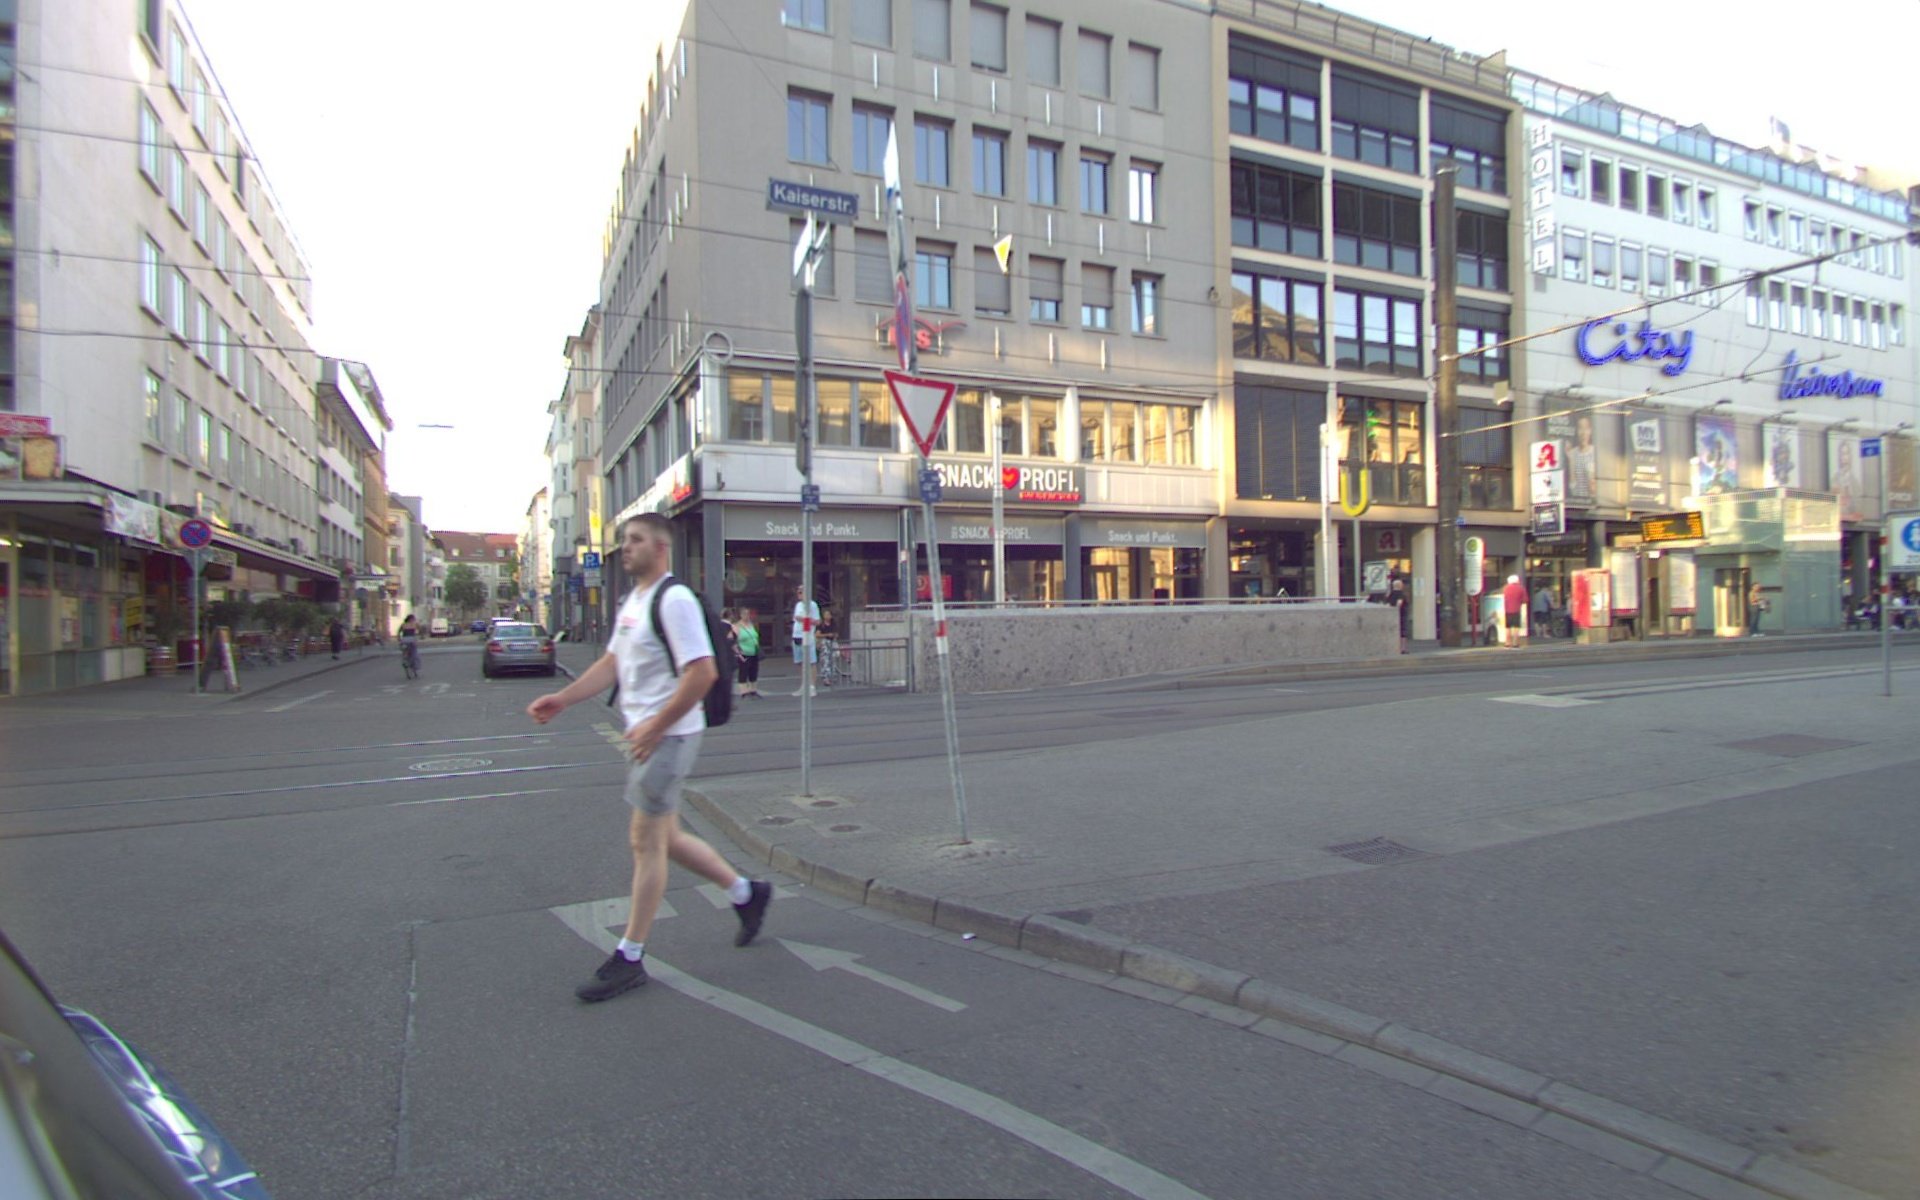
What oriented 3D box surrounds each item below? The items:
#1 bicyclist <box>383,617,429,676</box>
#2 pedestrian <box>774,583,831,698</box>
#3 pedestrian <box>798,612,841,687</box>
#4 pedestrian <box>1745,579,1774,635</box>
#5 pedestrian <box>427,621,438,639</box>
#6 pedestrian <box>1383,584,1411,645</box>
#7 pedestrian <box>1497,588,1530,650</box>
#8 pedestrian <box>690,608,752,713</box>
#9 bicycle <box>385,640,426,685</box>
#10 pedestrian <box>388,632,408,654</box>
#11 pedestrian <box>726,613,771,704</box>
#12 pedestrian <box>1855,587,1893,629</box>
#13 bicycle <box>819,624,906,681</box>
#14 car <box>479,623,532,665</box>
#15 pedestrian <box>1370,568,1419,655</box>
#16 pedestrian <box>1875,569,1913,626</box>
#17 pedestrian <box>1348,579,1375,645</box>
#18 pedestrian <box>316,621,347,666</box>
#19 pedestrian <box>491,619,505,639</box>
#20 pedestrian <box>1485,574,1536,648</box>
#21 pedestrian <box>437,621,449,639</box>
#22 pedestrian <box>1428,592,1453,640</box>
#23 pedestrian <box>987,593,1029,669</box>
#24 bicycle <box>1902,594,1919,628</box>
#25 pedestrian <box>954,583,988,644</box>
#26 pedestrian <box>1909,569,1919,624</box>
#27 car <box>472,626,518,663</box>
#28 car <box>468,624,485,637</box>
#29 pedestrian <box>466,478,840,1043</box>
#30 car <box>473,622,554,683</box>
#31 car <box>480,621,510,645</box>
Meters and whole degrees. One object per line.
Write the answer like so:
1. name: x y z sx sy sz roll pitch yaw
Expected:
1. bicyclist: -14.879 1.229 27.190 0.983 1.513 0.860 -2 0 -25
2. pedestrian: -2.744 0.695 17.601 0.697 1.941 0.777 0 -2 -33
3. pedestrian: -2.752 0.964 19.851 0.678 1.445 0.553 -1 -2 13
4. pedestrian: 23.346 0.212 29.551 0.497 1.630 0.514 0 -2 -34
5. pedestrian: -50.645 2.856 97.095 0.856 1.674 0.934 -2 -1 -25
6. pedestrian: 11.513 0.385 26.670 0.624 1.600 0.600 -1 -2 23
7. pedestrian: 14.407 0.499 26.357 0.605 1.600 0.619 -2 -2 41
8. pedestrian: -3.622 0.905 15.338 0.682 1.553 0.601 -1 -2 23
9. bicycle: -14.860 1.643 27.179 0.803 1.081 2.120 -2 0 -25
10. pedestrian: -45.782 3.503 82.481 1.277 1.674 1.017 -1 -1 -23
11. pedestrian: -3.584 0.983 17.145 0.546 1.505 0.607 0 -2 -33
12. pedestrian: 31.208 0.282 34.563 0.708 1.389 0.712 0 -2 -26
13. bicycle: -2.106 1.120 21.886 1.769 1.116 0.502 -3 -1 -20
14. car: -17.437 1.643 38.902 1.769 1.522 4.013 0 -1 -24
15. pedestrian: 9.843 0.264 22.940 0.697 1.939 0.718 0 -2 -30
16. pedestrian: 29.028 -0.060 31.463 0.708 1.738 0.766 -2 -2 34
17. pedestrian: 10.754 0.335 27.114 0.624 1.738 0.601 -1 -2 22
18. pedestrian: -24.313 1.681 39.164 0.856 1.674 0.934 -2 -1 -22
19. pedestrian: -40.213 2.544 88.089 0.858 1.674 0.931 -2 -1 -3
20. pedestrian: 12.978 0.254 23.851 0.772 1.710 0.718 0 -2 -31
21. pedestrian: -49.744 2.845 97.440 0.961 1.674 0.981 -2 -1 -25
22. pedestrian: 15.851 0.518 33.369 0.509 1.559 0.511 0 -2 -33
23. pedestrian: 1.122 0.714 23.583 0.697 1.738 0.718 0 -2 -26
24. bicycle: 33.448 0.374 35.532 0.434 1.150 1.596 -2 -1 41
25. pedestrian: 0.313 0.386 28.970 0.697 1.738 0.718 0 -2 -26
26. pedestrian: 30.619 -0.104 32.019 0.708 1.738 0.766 -2 -2 36
27. car: -20.494 1.928 44.657 1.769 1.522 4.013 0 -1 -24
28. car: -61.242 3.848 128.162 1.769 1.522 4.013 0 -1 -24
29. pedestrian: -1.216 0.536 4.086 1.014 1.877 1.030 -1 -1 35
30. car: -12.307 1.379 27.762 1.769 1.522 4.146 0 -1 -27
31. car: -31.629 2.236 68.919 1.769 1.522 4.013 0 -1 -24
